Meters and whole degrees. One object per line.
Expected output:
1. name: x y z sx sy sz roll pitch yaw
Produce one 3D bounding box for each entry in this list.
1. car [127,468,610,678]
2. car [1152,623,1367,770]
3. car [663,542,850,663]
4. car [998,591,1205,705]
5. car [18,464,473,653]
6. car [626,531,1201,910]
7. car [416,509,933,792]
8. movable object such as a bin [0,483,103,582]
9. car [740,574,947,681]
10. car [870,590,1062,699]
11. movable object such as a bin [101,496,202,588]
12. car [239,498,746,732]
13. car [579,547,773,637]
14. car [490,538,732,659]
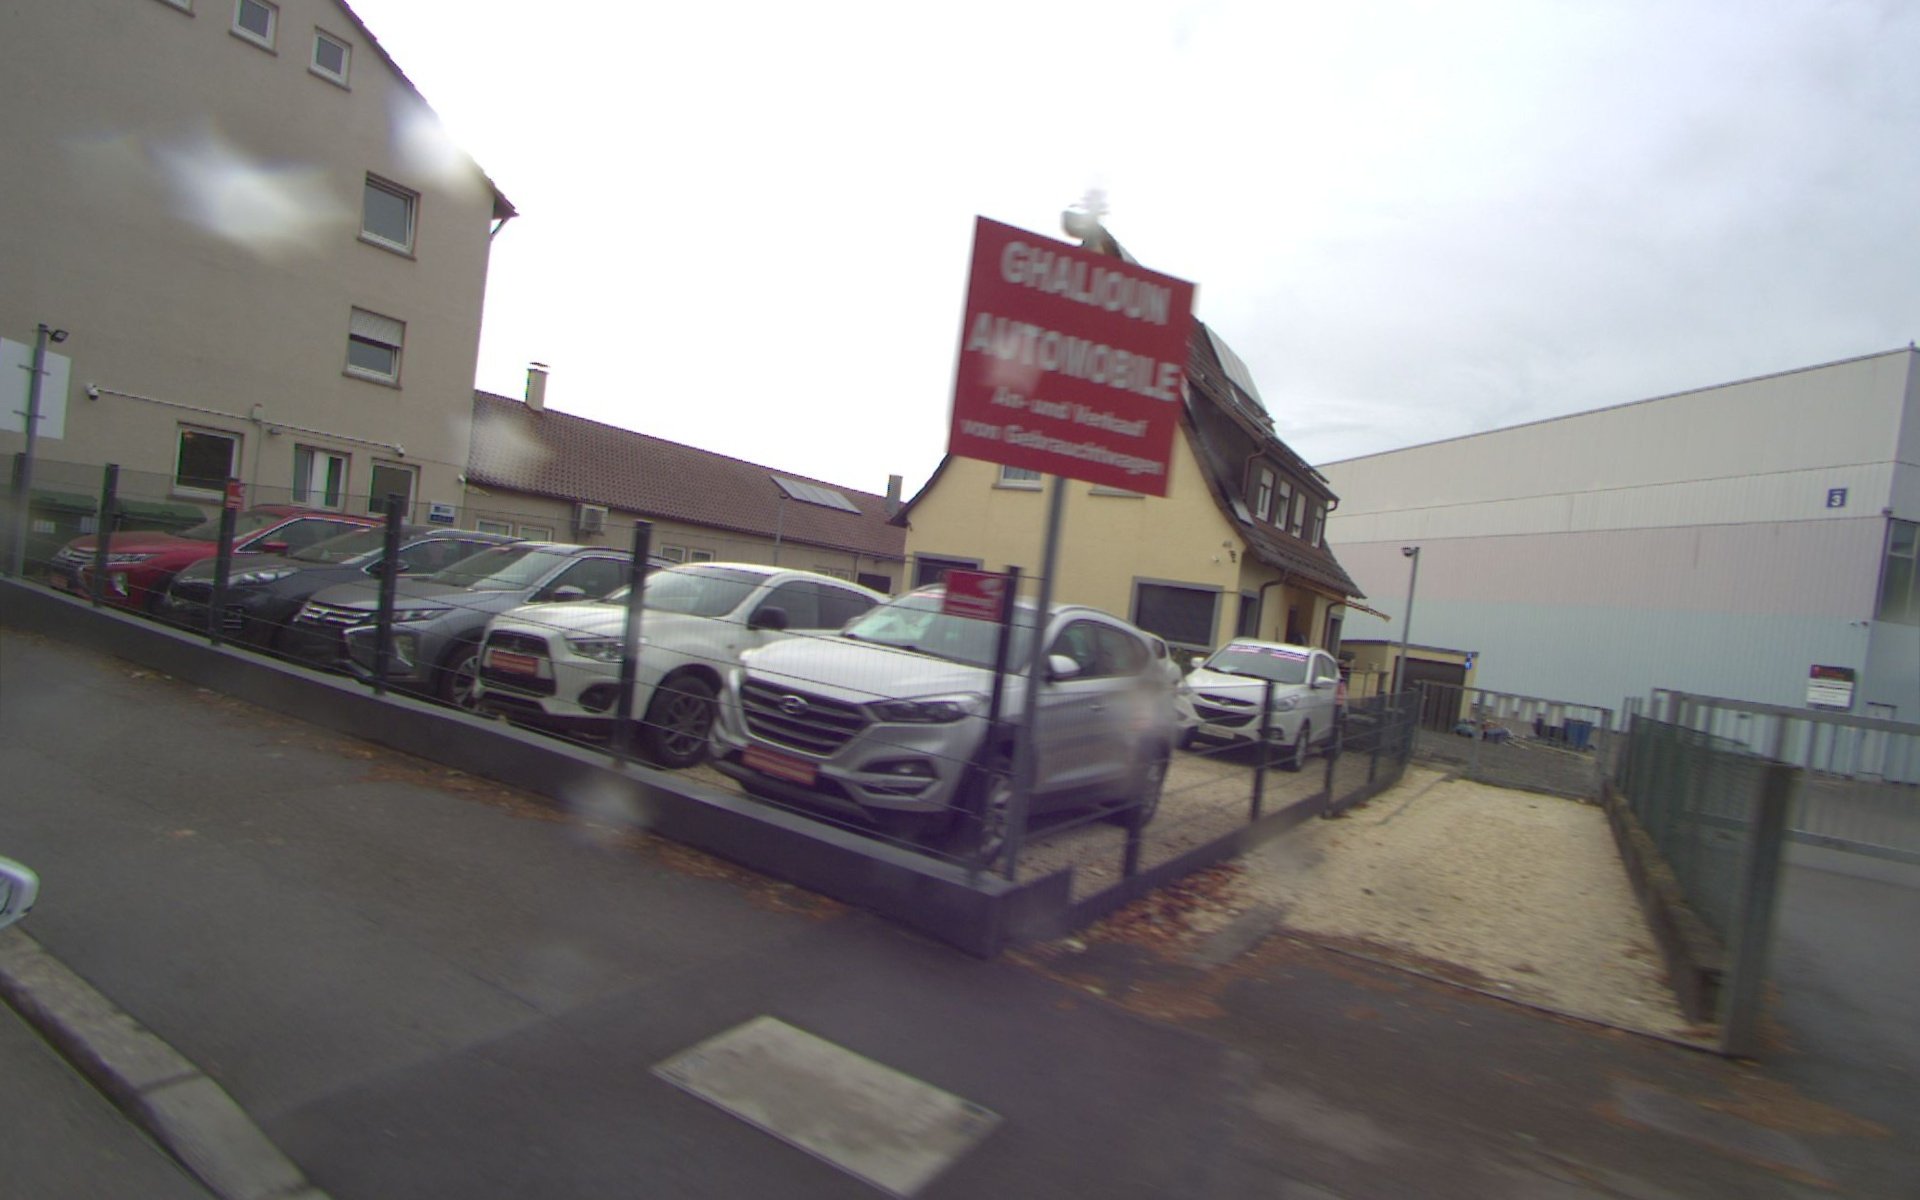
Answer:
1. car: -6.382 -0.167 11.405 1.839 1.756 4.237 5 -3 31
2. car: 4.605 1.396 14.933 1.839 1.646 4.510 7 -1 31
3. car: -4.101 0.121 20.821 1.695 2.037 3.588 6 -2 29
4. car: 2.485 0.869 16.772 1.966 1.485 3.996 6 -3 30
5. car: -8.810 -0.410 12.838 1.839 1.756 4.237 5 -3 31
6. car: 0.046 0.754 7.307 1.967 1.789 4.310 6 -2 31
7. car: -2.115 0.474 8.573 1.761 1.744 3.956 6 -2 31
8. movable object such as a bin: -15.524 -1.128 17.009 1.092 1.529 1.234 6 2 31
9. car: -2.126 0.600 19.530 1.764 1.618 4.093 6 -3 30
10. car: 0.224 0.861 17.877 1.728 1.550 3.774 6 -2 28
11. movable object such as a bin: -14.723 -1.046 18.332 0.993 1.529 1.110 6 2 31
12. car: -4.299 0.264 9.940 1.839 1.756 4.075 5 -3 31
13. car: -6.728 -0.165 24.073 3.973 1.611 1.801 9 -3 -41
14. car: -5.796 -0.035 16.660 3.567 1.548 1.811 5 -2 31
